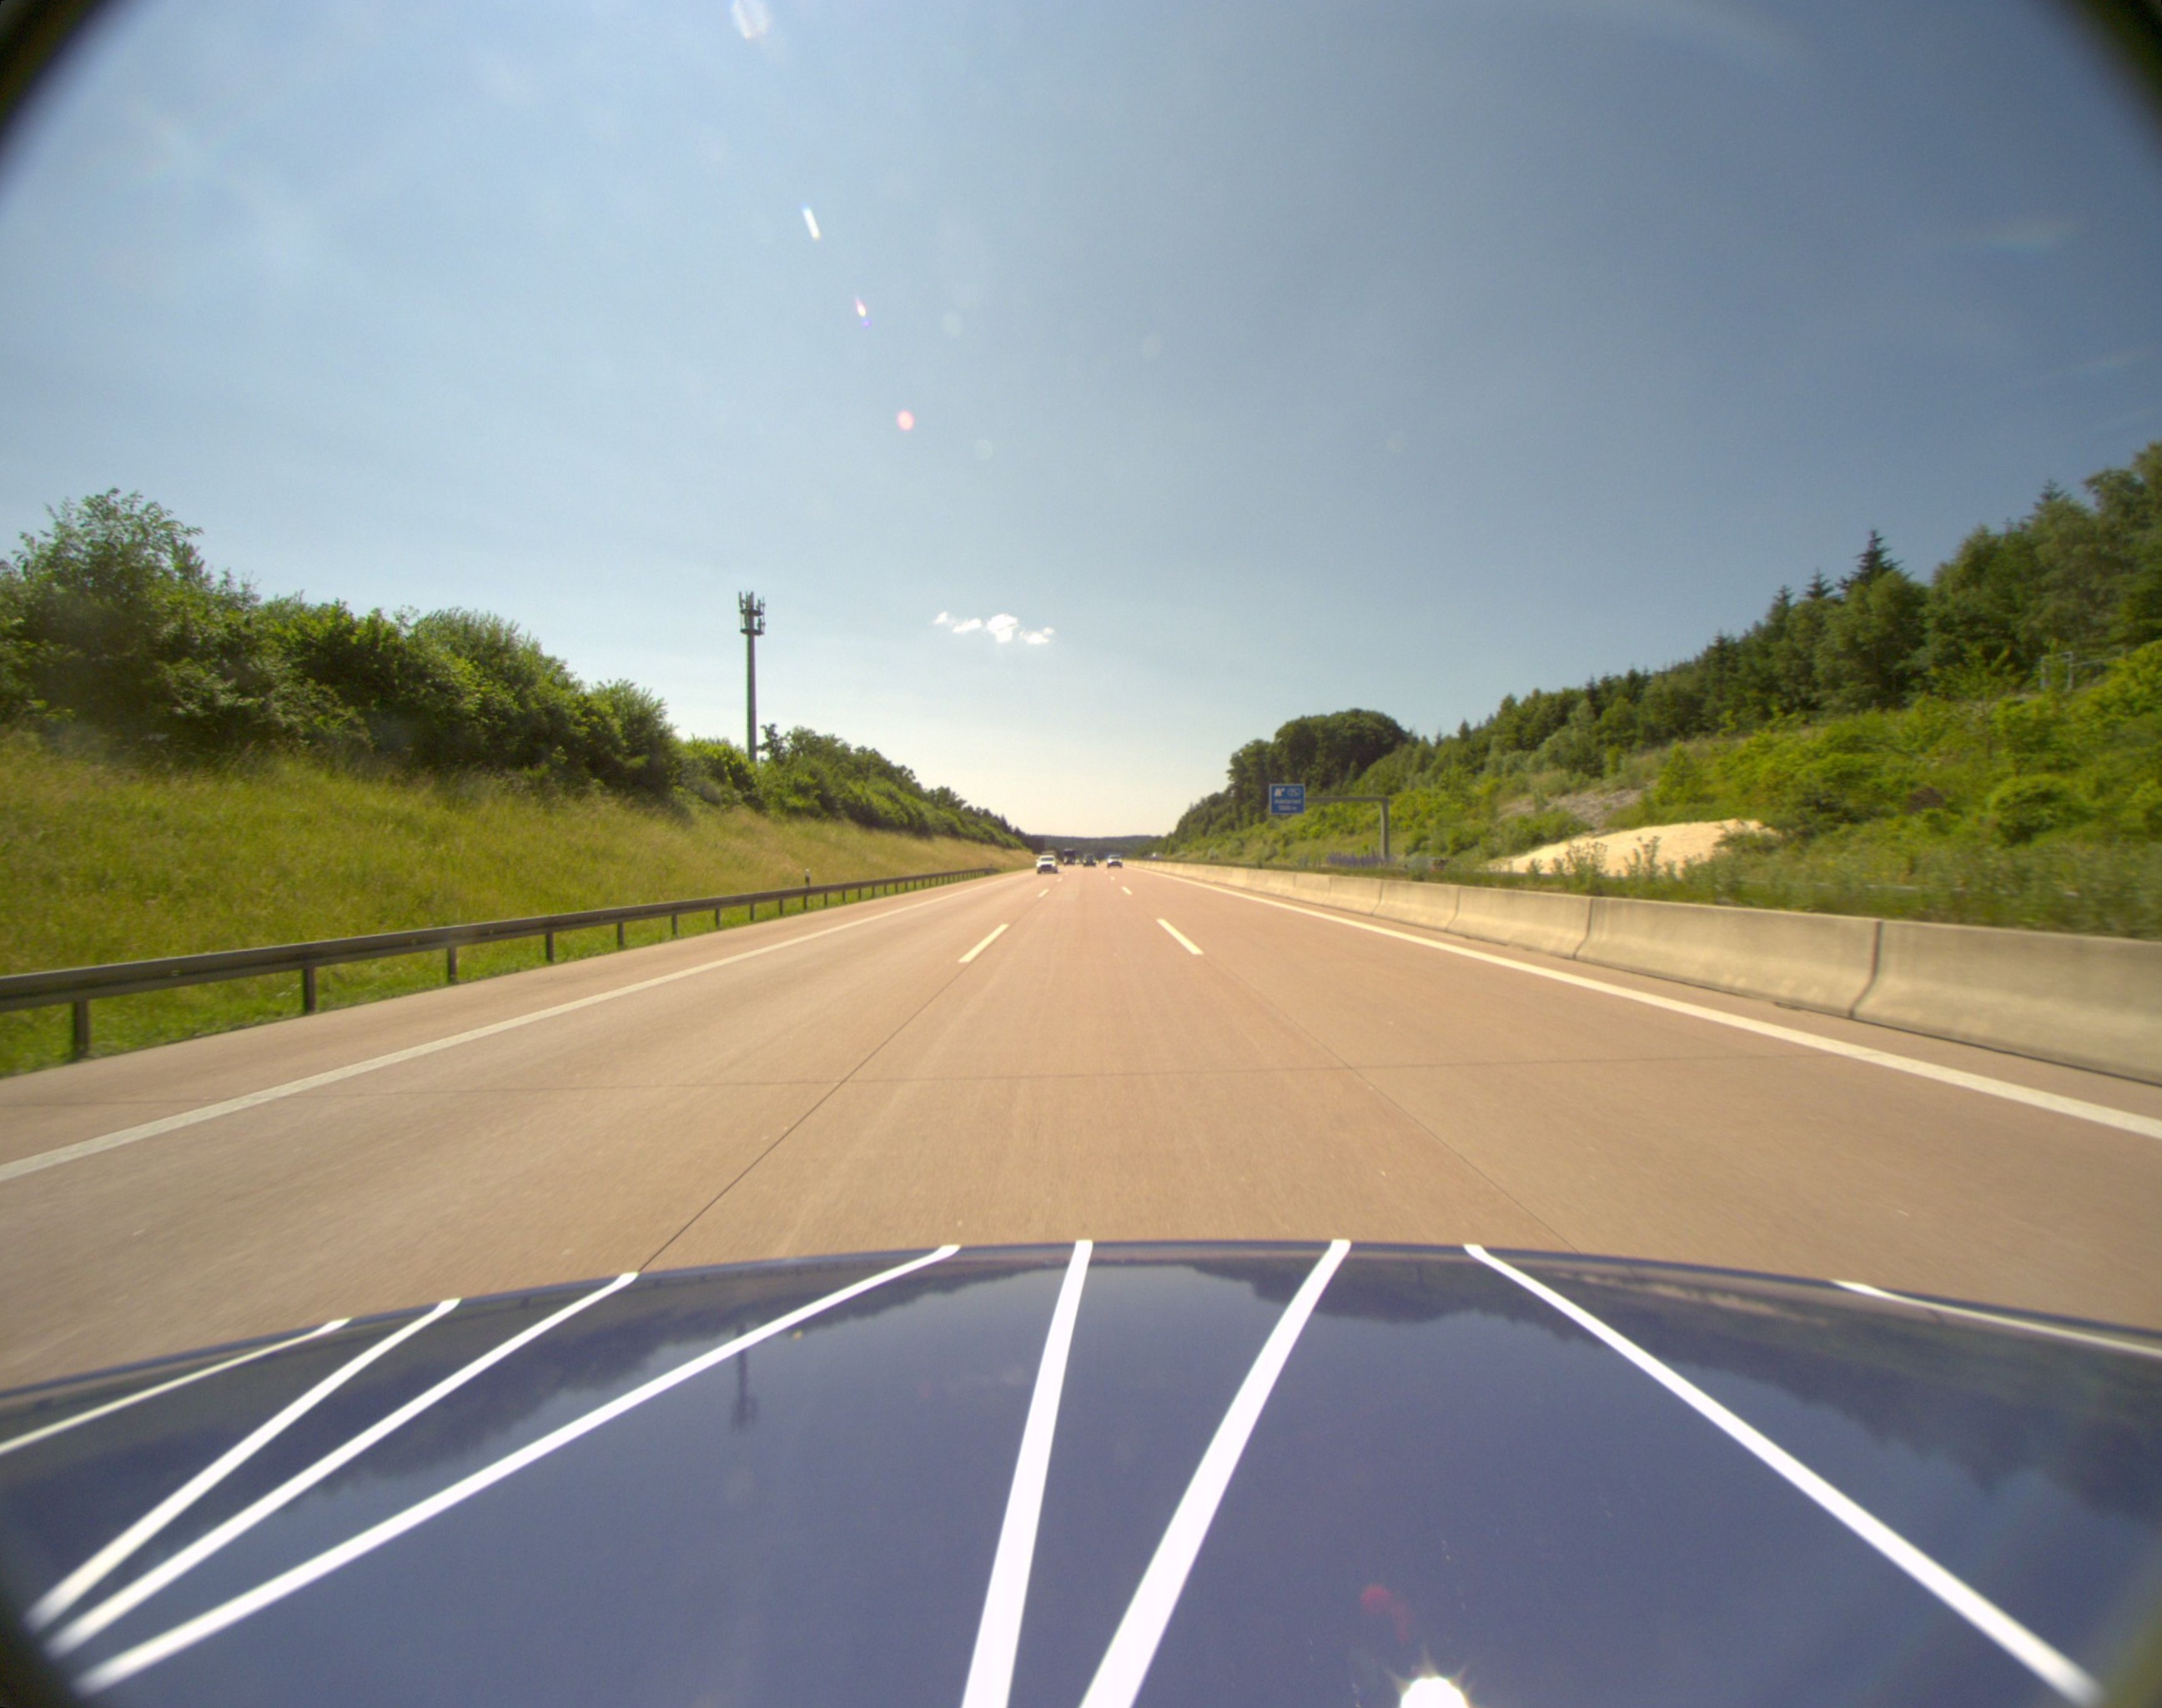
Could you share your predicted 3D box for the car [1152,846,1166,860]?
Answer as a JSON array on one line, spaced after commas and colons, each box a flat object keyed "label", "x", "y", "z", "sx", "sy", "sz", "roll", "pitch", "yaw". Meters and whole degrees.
[{"label": "car", "x": 18.007, "y": -0.127, "z": 175.856, "sx": 2.416, "sy": 2.952, "sz": 7.503, "roll": -2, "pitch": -1, "yaw": 1}]

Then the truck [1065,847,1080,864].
[{"label": "truck", "x": -1.715, "y": 0.401, "z": 150.211, "sx": 2.508, "sy": 3.199, "sz": 7.786, "roll": -2, "pitch": -1, "yaw": 2}]

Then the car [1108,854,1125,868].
[{"label": "car", "x": 4.428, "y": 0.896, "z": 96.181, "sx": 1.895, "sy": 1.718, "sz": 4.564, "roll": -2, "pitch": -1, "yaw": 0}]

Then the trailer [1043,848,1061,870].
[{"label": "trailer", "x": -2.931, "y": 0.538, "z": 77.035, "sx": 1.662, "sy": 2.151, "sz": 4.016, "roll": -2, "pitch": 0, "yaw": -1}]

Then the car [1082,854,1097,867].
[{"label": "car", "x": 1.285, "y": 0.923, "z": 114.037, "sx": 1.998, "sy": 1.805, "sz": 4.565, "roll": -2, "pitch": 0, "yaw": 3}]

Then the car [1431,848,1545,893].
[{"label": "car", "x": 16.030, "y": 0.638, "z": 30.281, "sx": 1.895, "sy": 1.584, "sz": 4.979, "roll": -2, "pitch": -1, "yaw": 1}]

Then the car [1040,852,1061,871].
[{"label": "car", "x": -2.867, "y": 0.676, "z": 72.529, "sx": 1.896, "sy": 1.718, "sz": 5.186, "roll": -2, "pitch": 0, "yaw": -1}]
